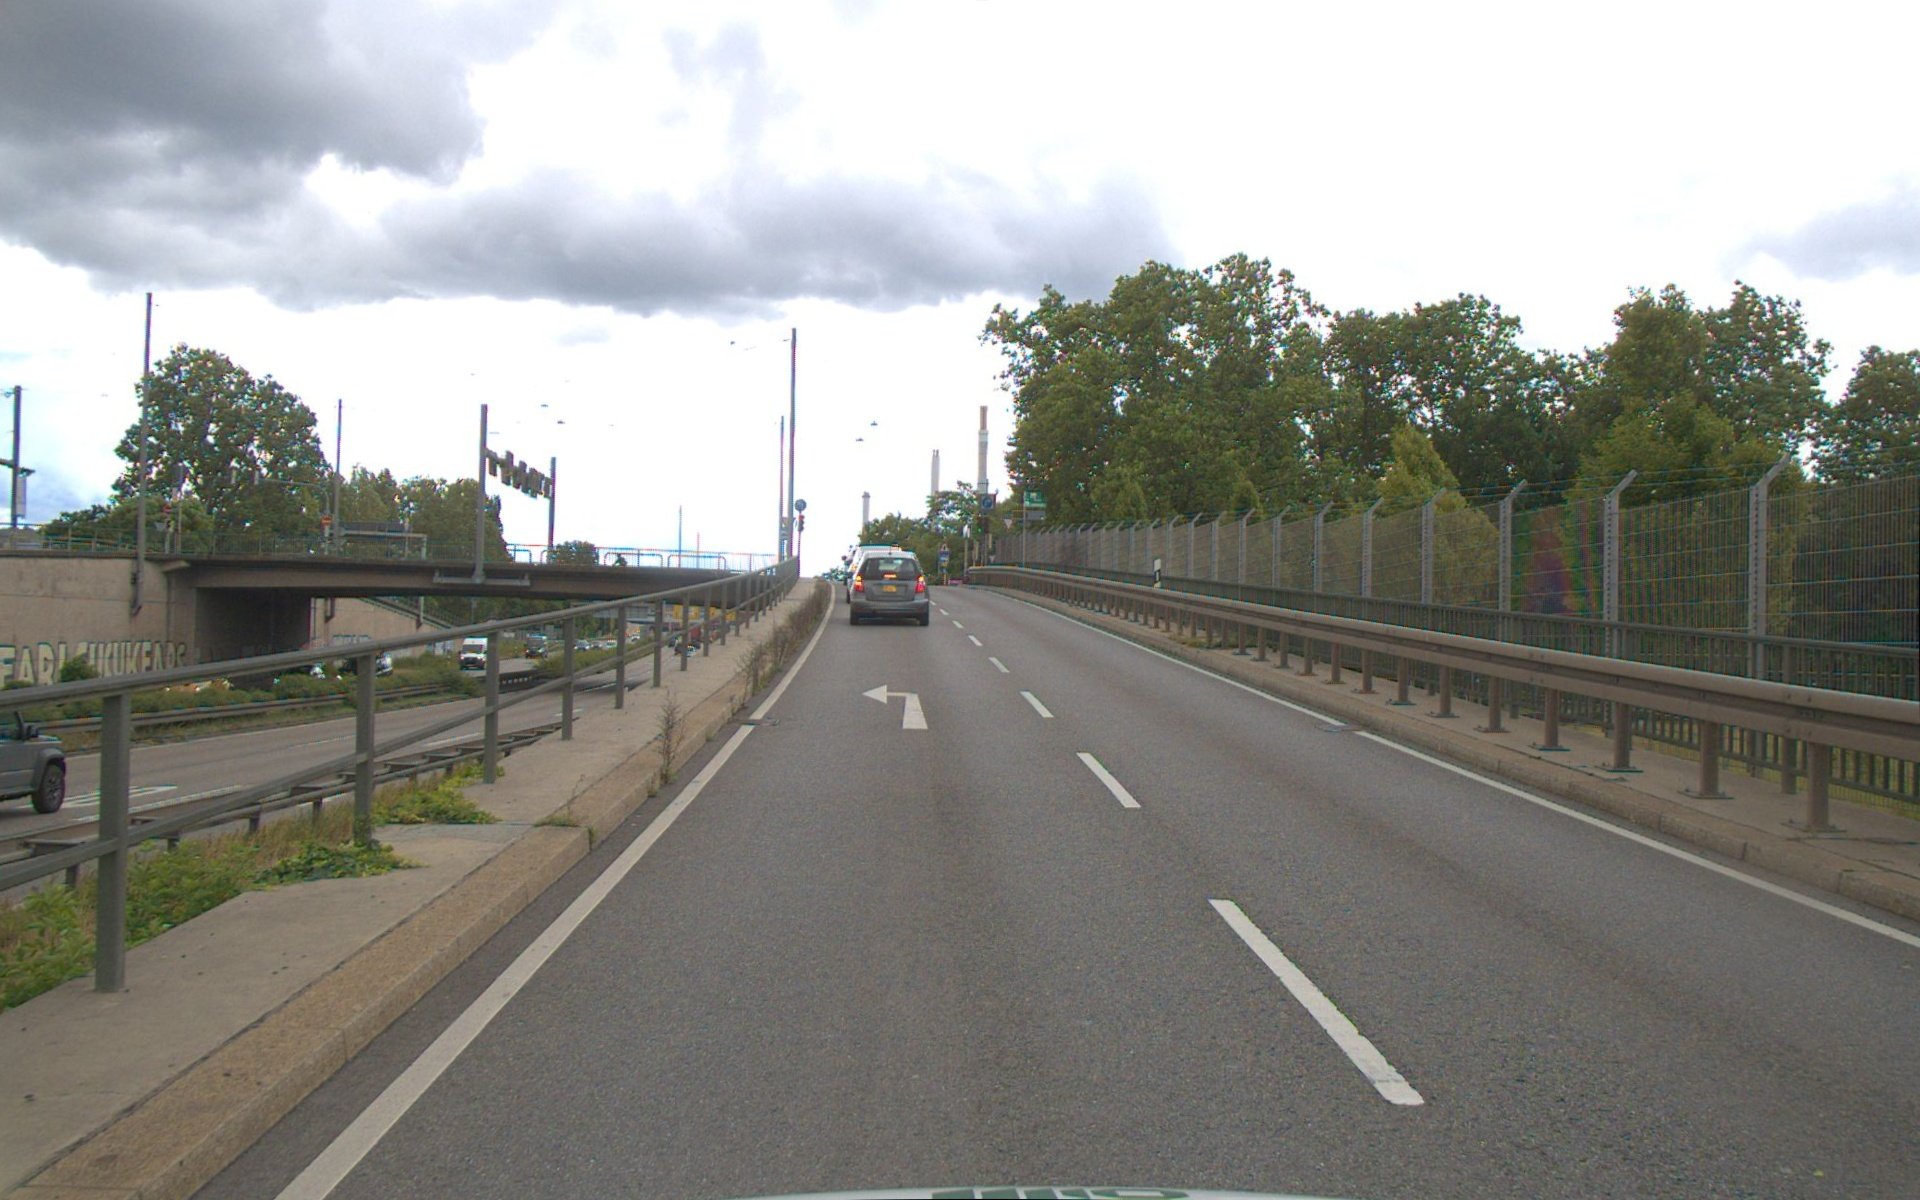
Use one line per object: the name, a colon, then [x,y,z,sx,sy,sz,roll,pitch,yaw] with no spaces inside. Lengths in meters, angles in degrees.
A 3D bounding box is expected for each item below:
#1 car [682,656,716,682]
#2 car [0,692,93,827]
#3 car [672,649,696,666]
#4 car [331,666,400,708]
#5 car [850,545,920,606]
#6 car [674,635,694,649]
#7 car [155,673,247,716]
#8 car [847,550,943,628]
car: [-16.510,4.342,104.794,1.956,1.445,3.994,2,0,-7]
car: [-13.962,2.234,23.166,1.647,1.766,3.996,0,-2,-3]
car: [-31.372,6.555,188.111,1.953,1.713,3.999,2,0,0]
car: [-30.728,4.462,85.635,2.051,2.024,5.110,0,-2,-5]
car: [-2.214,-0.753,48.252,1.954,1.630,3.999,0,3,-3]
car: [-36.723,5.642,220.085,1.953,1.713,3.999,2,0,0]
car: [-32.112,3.962,70.140,1.954,1.750,4.699,0,-3,-4]
car: [-1.398,-0.207,37.012,1.713,1.608,4.086,1,-1,3]
